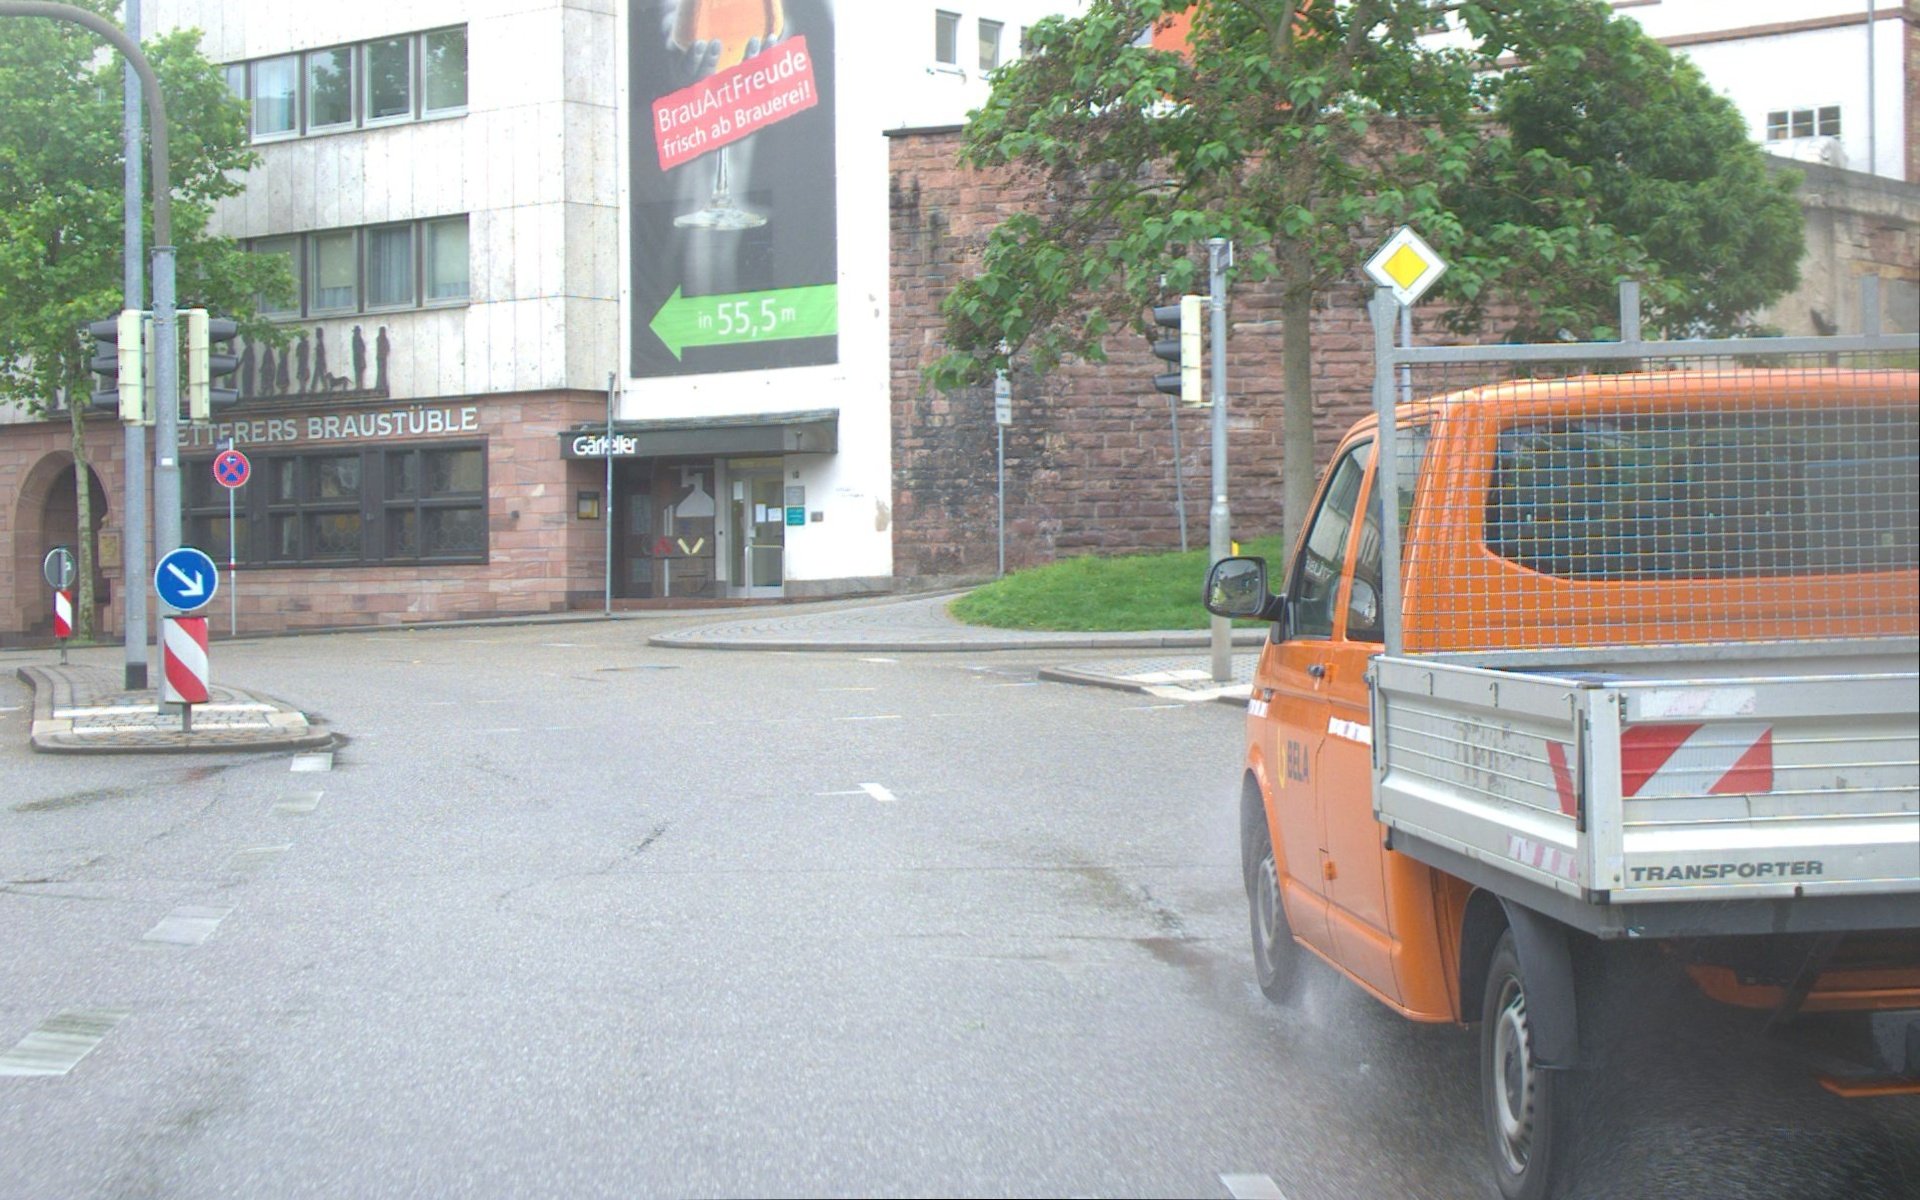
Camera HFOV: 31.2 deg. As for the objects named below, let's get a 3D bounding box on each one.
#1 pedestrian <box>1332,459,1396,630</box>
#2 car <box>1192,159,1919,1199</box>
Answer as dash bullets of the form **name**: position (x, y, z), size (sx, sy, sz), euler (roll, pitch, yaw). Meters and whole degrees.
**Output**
- **pedestrian**: position (4.261, -0.578, 36.213), size (0.597, 1.775, 0.656), euler (1, -1, 10)
- **car**: position (1.996, 0.261, 9.051), size (2.101, 2.082, 5.542), euler (1, 0, -3)
